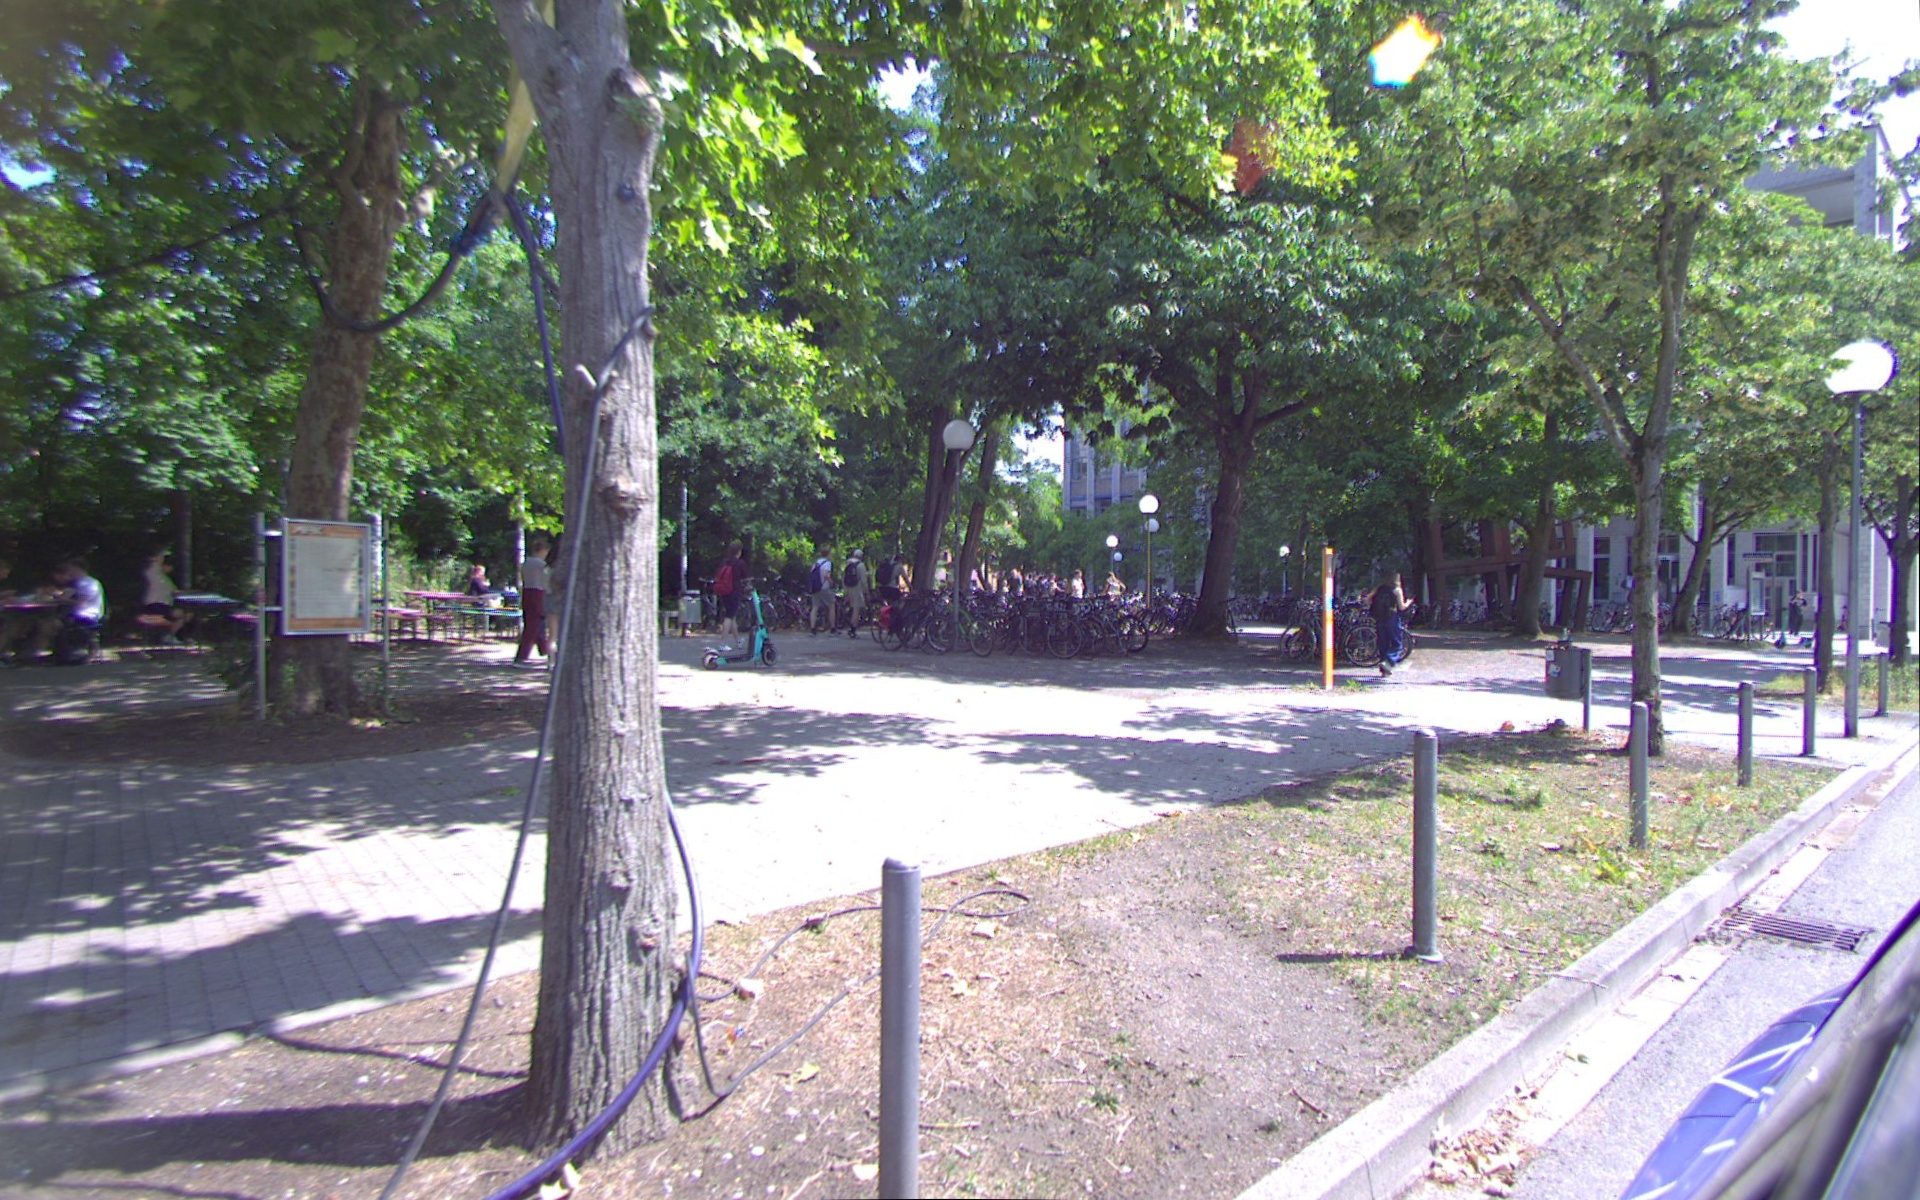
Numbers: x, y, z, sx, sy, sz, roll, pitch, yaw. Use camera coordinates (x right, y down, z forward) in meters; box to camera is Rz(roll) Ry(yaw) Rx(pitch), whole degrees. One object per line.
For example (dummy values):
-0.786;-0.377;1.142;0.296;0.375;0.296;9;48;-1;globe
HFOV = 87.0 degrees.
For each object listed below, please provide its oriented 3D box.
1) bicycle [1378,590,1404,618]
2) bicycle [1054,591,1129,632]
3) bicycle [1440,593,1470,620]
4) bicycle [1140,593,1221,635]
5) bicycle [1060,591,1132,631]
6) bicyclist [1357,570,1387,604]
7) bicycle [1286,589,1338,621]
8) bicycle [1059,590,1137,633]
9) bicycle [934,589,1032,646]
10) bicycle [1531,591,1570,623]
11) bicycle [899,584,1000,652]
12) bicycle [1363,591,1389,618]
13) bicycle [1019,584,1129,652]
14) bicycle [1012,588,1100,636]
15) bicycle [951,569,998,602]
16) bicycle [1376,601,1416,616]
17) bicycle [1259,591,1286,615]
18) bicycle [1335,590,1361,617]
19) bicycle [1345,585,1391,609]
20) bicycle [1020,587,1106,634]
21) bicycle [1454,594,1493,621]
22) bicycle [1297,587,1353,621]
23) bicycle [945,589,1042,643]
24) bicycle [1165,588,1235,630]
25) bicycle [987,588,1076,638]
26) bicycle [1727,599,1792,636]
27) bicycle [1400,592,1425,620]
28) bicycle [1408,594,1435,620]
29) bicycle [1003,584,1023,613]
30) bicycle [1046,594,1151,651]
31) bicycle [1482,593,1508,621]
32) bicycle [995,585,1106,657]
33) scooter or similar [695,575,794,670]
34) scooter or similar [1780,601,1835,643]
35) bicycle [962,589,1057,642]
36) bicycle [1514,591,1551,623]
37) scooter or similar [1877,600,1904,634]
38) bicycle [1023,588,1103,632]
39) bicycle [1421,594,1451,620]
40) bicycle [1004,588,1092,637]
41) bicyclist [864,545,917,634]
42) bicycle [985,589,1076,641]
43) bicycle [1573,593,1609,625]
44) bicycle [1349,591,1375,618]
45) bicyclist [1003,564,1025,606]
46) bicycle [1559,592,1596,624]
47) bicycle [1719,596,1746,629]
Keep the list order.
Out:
18.551;0.181;43.579;0.453;1.144;1.661;-2;-3;43;bicycle
3.437;0.279;26.524;1.884;0.991;0.438;2;1;26;bicycle
20.256;0.290;41.423;0.615;1.061;1.661;-2;-3;44;bicycle
5.444;0.341;25.036;1.868;0.991;0.478;1;1;1;bicycle
3.618;0.286;26.987;1.863;0.991;0.304;2;1;22;bicycle
19.960;-0.640;49.049;0.823;1.562;0.959;5;0;-39;bicyclist
13.536;0.185;38.919;1.818;1.185;0.434;1;0;14;bicycle
3.471;0.284;25.478;1.880;0.991;0.476;2;1;20;bicycle
0.434;0.315;19.472;1.888;0.991;0.473;2;2;30;bicycle
22.584;0.287;38.677;1.664;1.139;0.628;2;1;-36;bicycle
-0.215;0.313;18.845;1.888;1.157;0.473;2;1;30;bicycle
18.092;0.200;44.037;0.453;1.144;1.661;-2;-3;43;bicycle
2.055;0.307;18.358;1.886;1.132;0.607;2;1;28;bicycle
2.123;0.252;22.525;1.885;0.991;0.474;2;1;27;bicycle
0.523;-0.527;36.240;1.586;1.107;0.477;2;1;12;bicycle
24.727;0.491;57.412;0.633;0.769;1.986;2;1;-43;bicycle
14.755;0.170;47.774;0.477;1.098;1.661;-2;-3;44;bicycle
17.167;0.171;44.753;0.453;1.144;1.661;-2;-3;43;bicycle
19.821;-0.162;49.180;0.804;1.054;1.930;-4;3;-38;bicycle
2.375;0.228;23.489;1.886;0.991;0.607;2;2;28;bicycle
20.744;0.300;40.871;1.663;1.061;0.618;1;-2;-33;bicycle
12.904;0.134;35.819;1.815;1.185;0.412;1;0;11;bicycle
0.660;0.302;20.087;1.881;0.991;0.418;2;1;22;bicycle
6.726;0.251;28.444;1.875;1.096;0.477;2;1;13;bicycle
1.516;0.268;21.660;1.886;0.991;0.417;2;1;28;bicycle
26.281;0.569;33.268;1.749;1.155;0.607;1;2;-8;bicycle
19.259;0.257;43.075;0.453;1.144;1.661;-2;-3;43;bicycle
19.324;0.285;42.329;0.499;1.061;1.661;-2;-3;44;bicycle
1.918;-0.073;36.458;0.576;0.942;1.750;3;2;6;bicycle
2.641;0.417;19.409;1.886;0.991;0.607;2;2;28;bicycle
21.299;0.286;40.280;0.566;1.061;1.671;-2;-3;41;bicycle
1.541;0.335;17.331;1.792;1.132;0.607;2;1;28;bicycle
-2.917;0.280;13.777;1.272;1.234;0.425;-1;1;-41;scooter or similar
23.879;0.615;28.509;1.333;1.128;0.498;2;0;-16;scooter or similar
1.000;0.298;20.640;1.884;0.991;0.474;2;1;25;bicycle
22.262;0.267;39.340;1.666;1.165;0.627;2;1;-40;bicycle
35.710;0.635;38.828;1.485;1.226;0.564;0;3;-43;scooter or similar
2.506;0.242;24.648;1.877;0.991;0.534;2;1;16;bicycle
19.732;0.291;41.916;0.615;1.061;1.661;-2;-3;44;bicycle
1.924;0.258;22.208;1.885;0.991;0.474;2;1;27;bicycle
-1.404;-0.217;20.542;0.526;1.750;1.068;3;1;28;bicyclist
1.459;0.301;21.173;1.886;0.991;0.417;2;1;28;bicycle
23.527;0.331;37.720;1.664;1.139;0.482;2;1;-36;bicycle
17.675;0.213;44.446;0.453;1.144;1.661;-2;-3;43;bicycle
1.949;-0.539;36.423;0.732;1.465;0.802;1;0;6;bicyclist
23.318;0.309;38.209;1.664;1.139;0.566;2;1;-36;bicycle
31.212;0.499;40.868;1.799;1.257;0.531;-1;2;-42;bicycle
